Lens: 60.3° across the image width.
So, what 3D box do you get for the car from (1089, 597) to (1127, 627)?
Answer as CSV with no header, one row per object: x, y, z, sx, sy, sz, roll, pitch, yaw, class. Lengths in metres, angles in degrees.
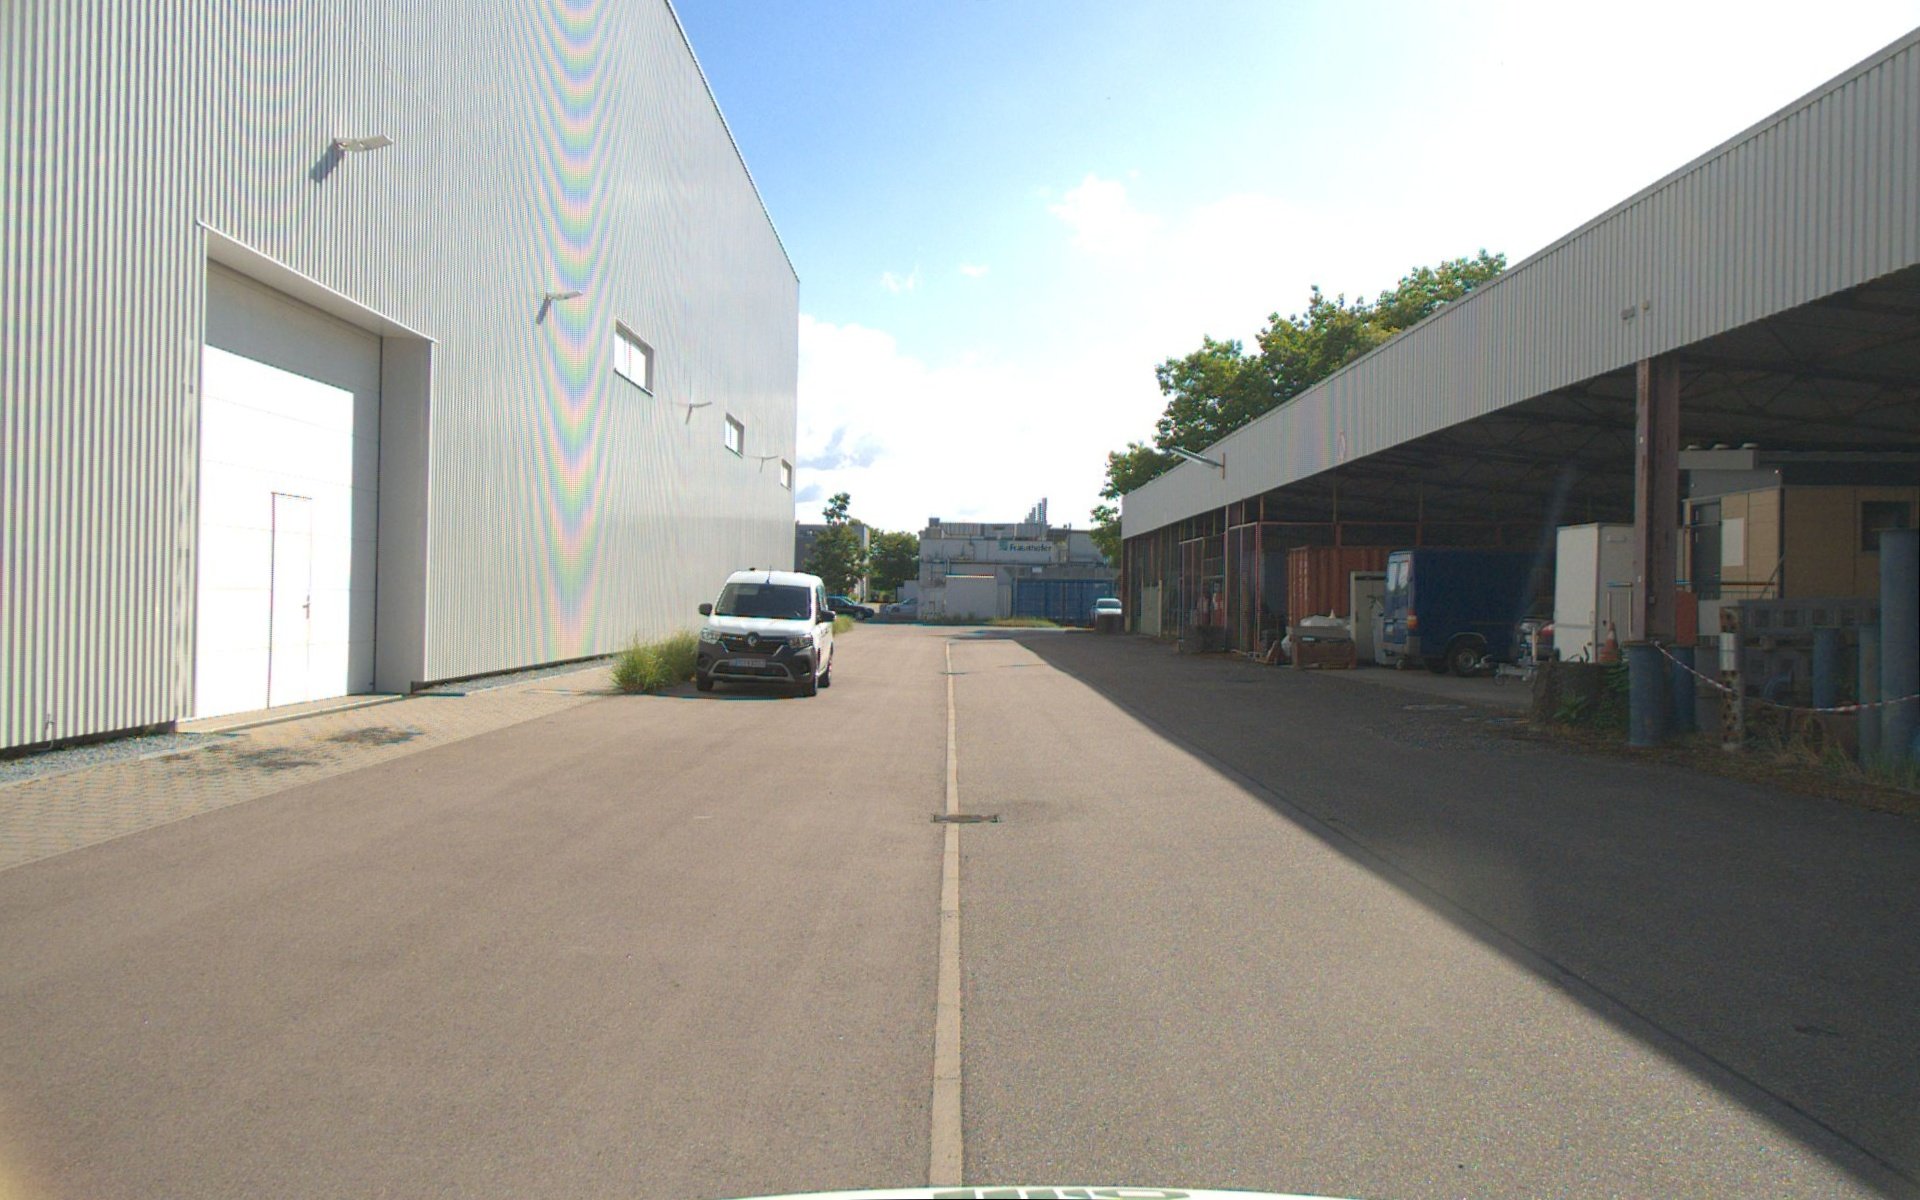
8.520,0.682,95.430,1.921,1.592,4.060,2,1,1,car

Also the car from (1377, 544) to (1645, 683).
10.252,0.278,30.980,4.342,2.350,1.915,2,-2,0,car

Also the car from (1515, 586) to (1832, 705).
10.477,0.679,24.460,3.955,1.551,1.684,2,-2,0,car

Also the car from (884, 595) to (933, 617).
-4.201,0.477,135.587,3.906,1.626,1.847,2,-2,-2,car

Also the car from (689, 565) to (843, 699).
-2.893,0.439,25.508,1.781,1.818,4.405,2,0,0,car

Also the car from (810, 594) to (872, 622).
-7.739,0.522,107.669,3.906,1.626,1.741,2,-2,-2,car

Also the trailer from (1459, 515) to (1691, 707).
8.188,0.152,22.172,2.472,2.441,1.727,1,-1,0,trailer

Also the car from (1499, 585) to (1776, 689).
11.357,0.635,27.894,3.955,1.551,1.684,2,-2,0,car
